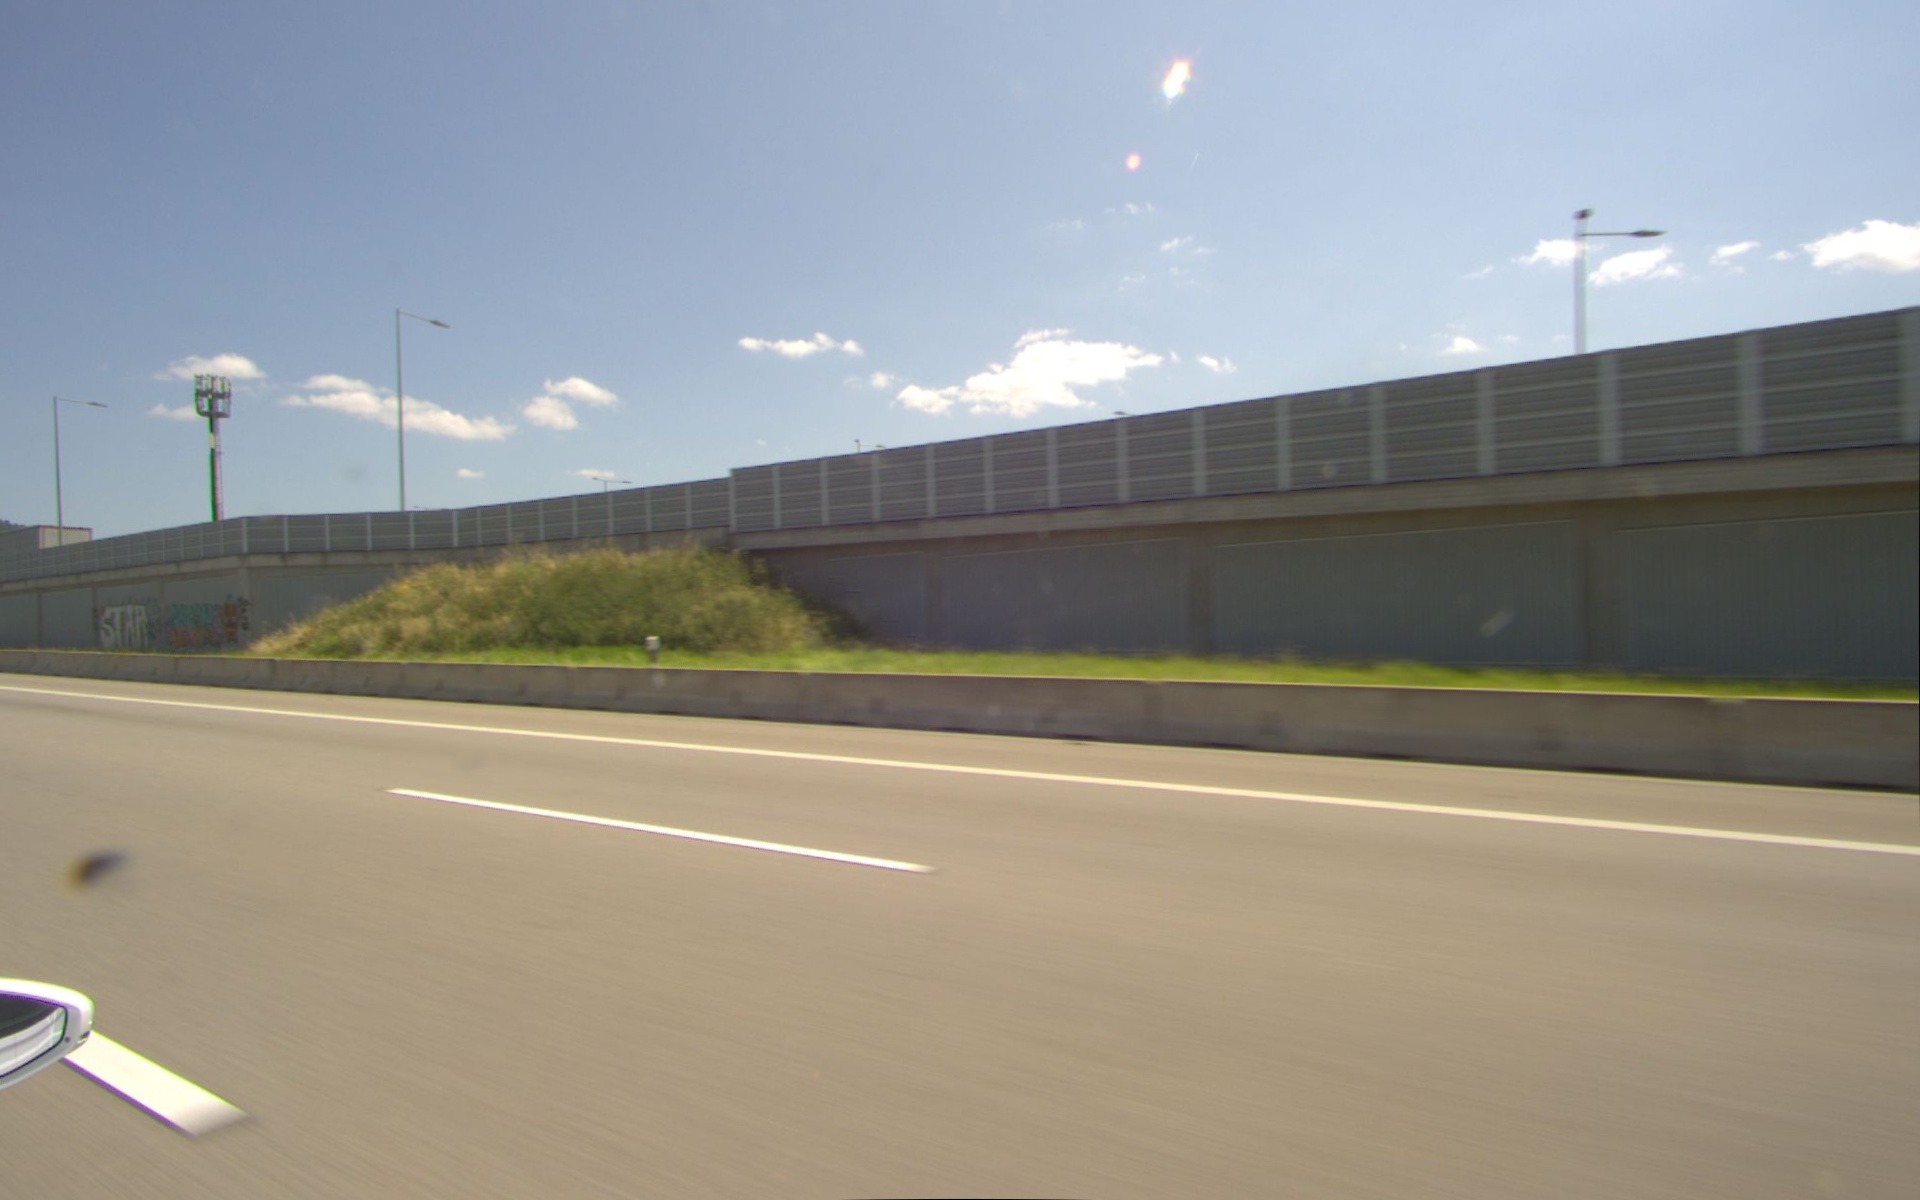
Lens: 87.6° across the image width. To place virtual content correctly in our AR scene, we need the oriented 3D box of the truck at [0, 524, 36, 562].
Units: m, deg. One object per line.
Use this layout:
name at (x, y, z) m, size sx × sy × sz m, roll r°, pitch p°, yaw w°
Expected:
truck at (-67.406, -3.967, 69.940) m, size 5.950 × 2.258 × 2.719 m, roll -1°, pitch -2°, yaw 32°

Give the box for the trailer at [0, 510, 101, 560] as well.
trailer at (-61.186, -4.151, 66.051) m, size 14.320 × 2.252 × 2.715 m, roll -1°, pitch -2°, yaw 32°
